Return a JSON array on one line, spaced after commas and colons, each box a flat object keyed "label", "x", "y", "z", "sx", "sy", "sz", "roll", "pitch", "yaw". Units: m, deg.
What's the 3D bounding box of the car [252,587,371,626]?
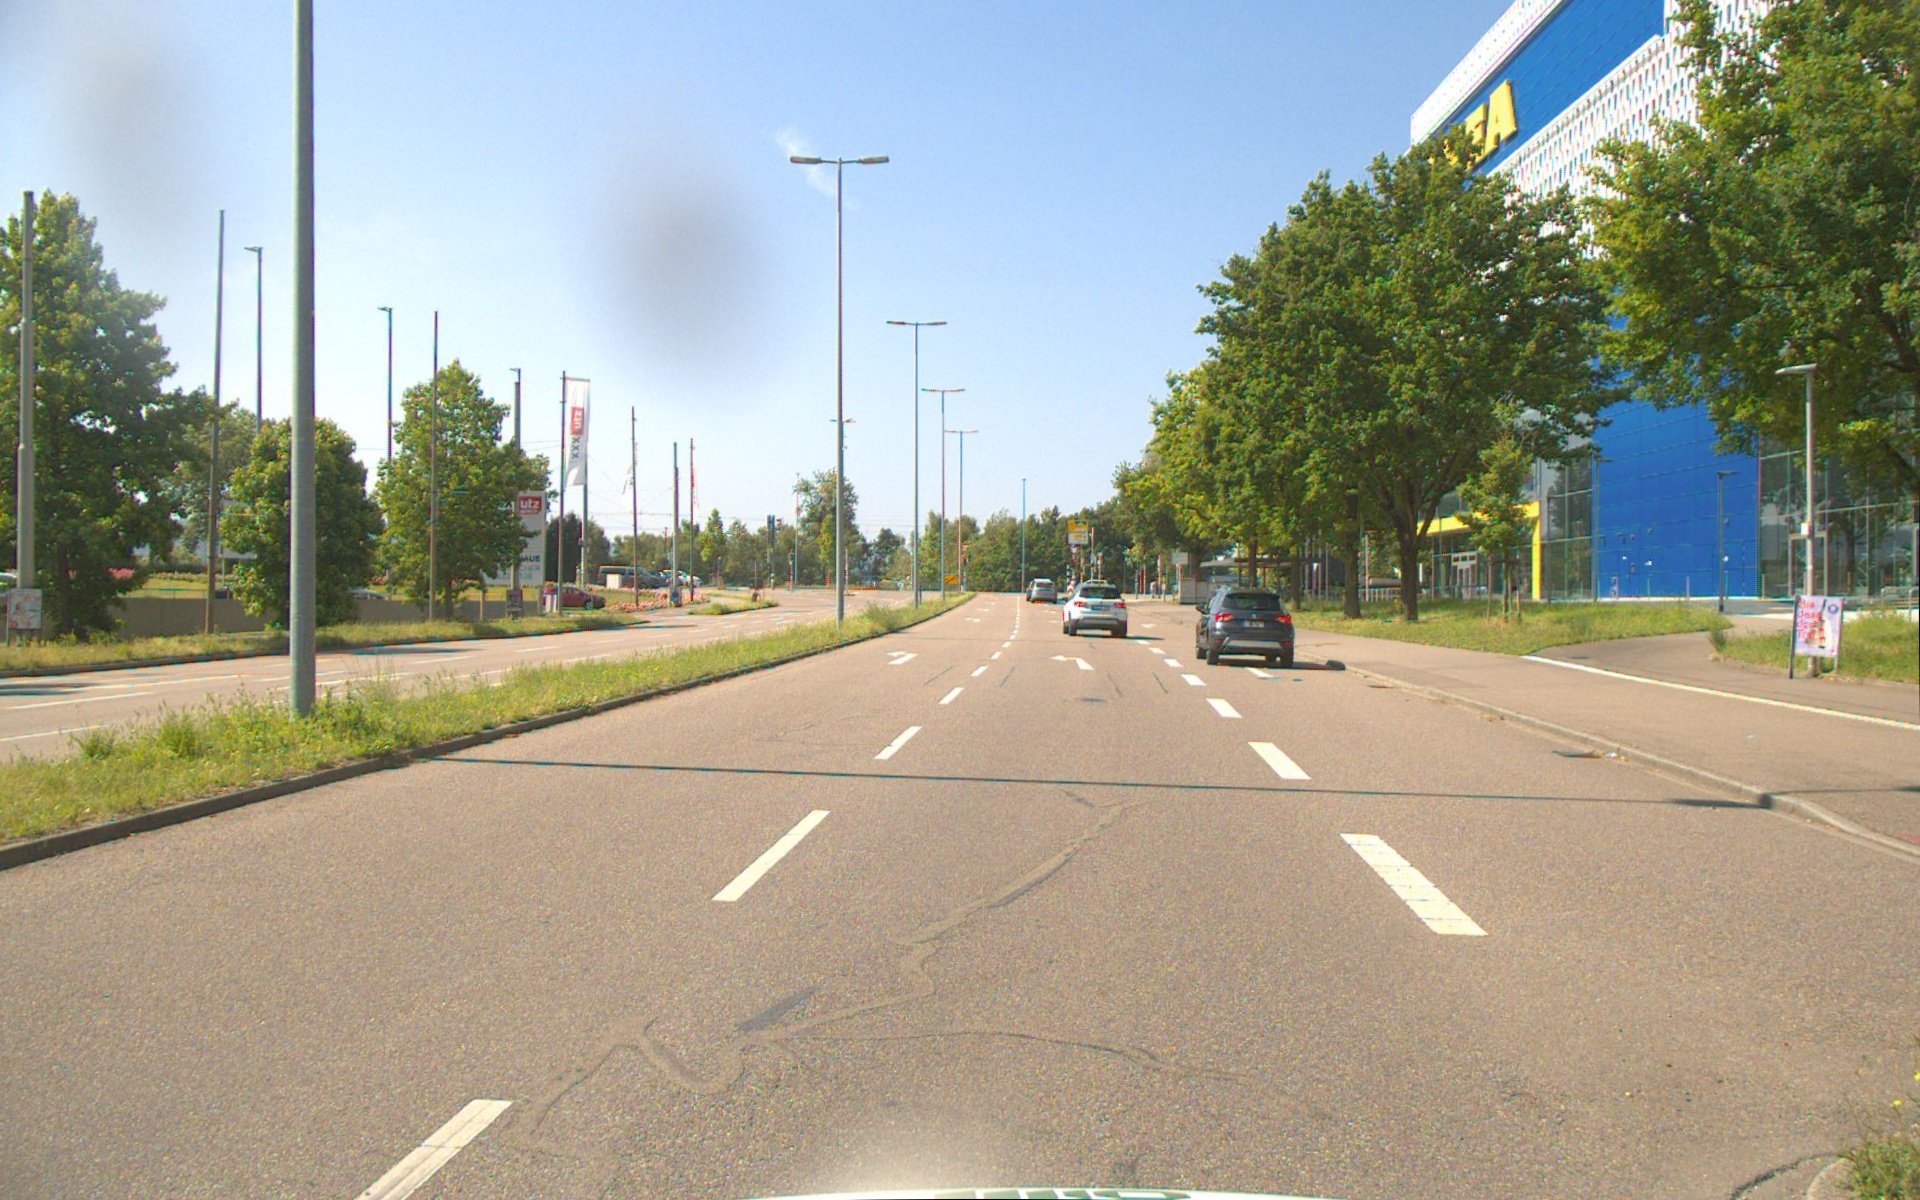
[{"label": "car", "x": -27.522, "y": 0.282, "z": 70.297, "sx": 4.322, "sy": 1.656, "sz": 1.871, "roll": 0, "pitch": -1, "yaw": -1}]

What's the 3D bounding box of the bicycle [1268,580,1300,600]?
[{"label": "bicycle", "x": 18.199, "y": -0.570, "z": 92.836, "sx": 1.722, "sy": 1.115, "sz": 0.452, "roll": 0, "pitch": 1, "yaw": 1}]

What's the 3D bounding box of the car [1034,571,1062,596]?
[{"label": "car", "x": 5.973, "y": -1.129, "z": 112.239, "sx": 1.671, "sy": 1.600, "sz": 4.175, "roll": -1, "pitch": 1, "yaw": 0}]

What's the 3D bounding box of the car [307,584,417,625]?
[{"label": "car", "x": -27.339, "y": 0.214, "z": 75.698, "sx": 4.321, "sy": 1.875, "sz": 1.946, "roll": 0, "pitch": 0, "yaw": 1}]

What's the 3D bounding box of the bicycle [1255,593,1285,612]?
[{"label": "bicycle", "x": 18.514, "y": 0.169, "z": 98.928, "sx": 1.722, "sy": 1.115, "sz": 0.452, "roll": 0, "pitch": 1, "yaw": 1}]

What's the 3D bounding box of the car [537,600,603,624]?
[{"label": "car", "x": -26.577, "y": 0.826, "z": 112.741, "sx": 4.099, "sy": 1.634, "sz": 1.825, "roll": 0, "pitch": -1, "yaw": -3}]

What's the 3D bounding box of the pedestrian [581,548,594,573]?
[{"label": "pedestrian", "x": -29.582, "y": -3.140, "z": 131.340, "sx": 0.701, "sy": 2.006, "sz": 0.918, "roll": 0, "pitch": -1, "yaw": 6}]

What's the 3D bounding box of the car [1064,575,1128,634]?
[{"label": "car", "x": 4.006, "y": 0.092, "z": 49.165, "sx": 1.597, "sy": 1.524, "sz": 3.871, "roll": 1, "pitch": 3, "yaw": 0}]

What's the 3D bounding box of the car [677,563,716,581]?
[{"label": "car", "x": -23.553, "y": -2.468, "z": 147.886, "sx": 3.276, "sy": 1.526, "sz": 1.409, "roll": 0, "pitch": -1, "yaw": -3}]

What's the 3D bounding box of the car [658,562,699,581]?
[{"label": "car", "x": -24.544, "y": -2.483, "z": 144.276, "sx": 3.316, "sy": 1.526, "sz": 1.409, "roll": 0, "pitch": -1, "yaw": 0}]

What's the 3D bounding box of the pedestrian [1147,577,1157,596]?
[{"label": "pedestrian", "x": 15.999, "y": -1.144, "z": 138.001, "sx": 0.756, "sy": 1.537, "sz": 1.008, "roll": 0, "pitch": 2, "yaw": 13}]

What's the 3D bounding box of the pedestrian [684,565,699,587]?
[{"label": "pedestrian", "x": -20.921, "y": -1.885, "z": 128.812, "sx": 0.822, "sy": 1.736, "sz": 0.906, "roll": 0, "pitch": 1, "yaw": 14}]

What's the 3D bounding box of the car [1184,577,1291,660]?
[{"label": "car", "x": 5.574, "y": 0.332, "z": 33.534, "sx": 1.635, "sy": 1.550, "sz": 3.377, "roll": 1, "pitch": 1, "yaw": 1}]

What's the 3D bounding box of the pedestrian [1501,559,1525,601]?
[{"label": "pedestrian", "x": 21.804, "y": -0.795, "z": 65.185, "sx": 0.674, "sy": 1.640, "sz": 0.771, "roll": -1, "pitch": 1, "yaw": -2}]

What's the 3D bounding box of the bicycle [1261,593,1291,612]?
[{"label": "bicycle", "x": 19.095, "y": 0.129, "z": 100.010, "sx": 1.722, "sy": 1.115, "sz": 0.452, "roll": 0, "pitch": 1, "yaw": 1}]

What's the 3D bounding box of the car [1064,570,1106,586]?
[{"label": "car", "x": 12.559, "y": -2.185, "z": 166.079, "sx": 3.991, "sy": 1.574, "sz": 1.799, "roll": 1, "pitch": 0, "yaw": -2}]
